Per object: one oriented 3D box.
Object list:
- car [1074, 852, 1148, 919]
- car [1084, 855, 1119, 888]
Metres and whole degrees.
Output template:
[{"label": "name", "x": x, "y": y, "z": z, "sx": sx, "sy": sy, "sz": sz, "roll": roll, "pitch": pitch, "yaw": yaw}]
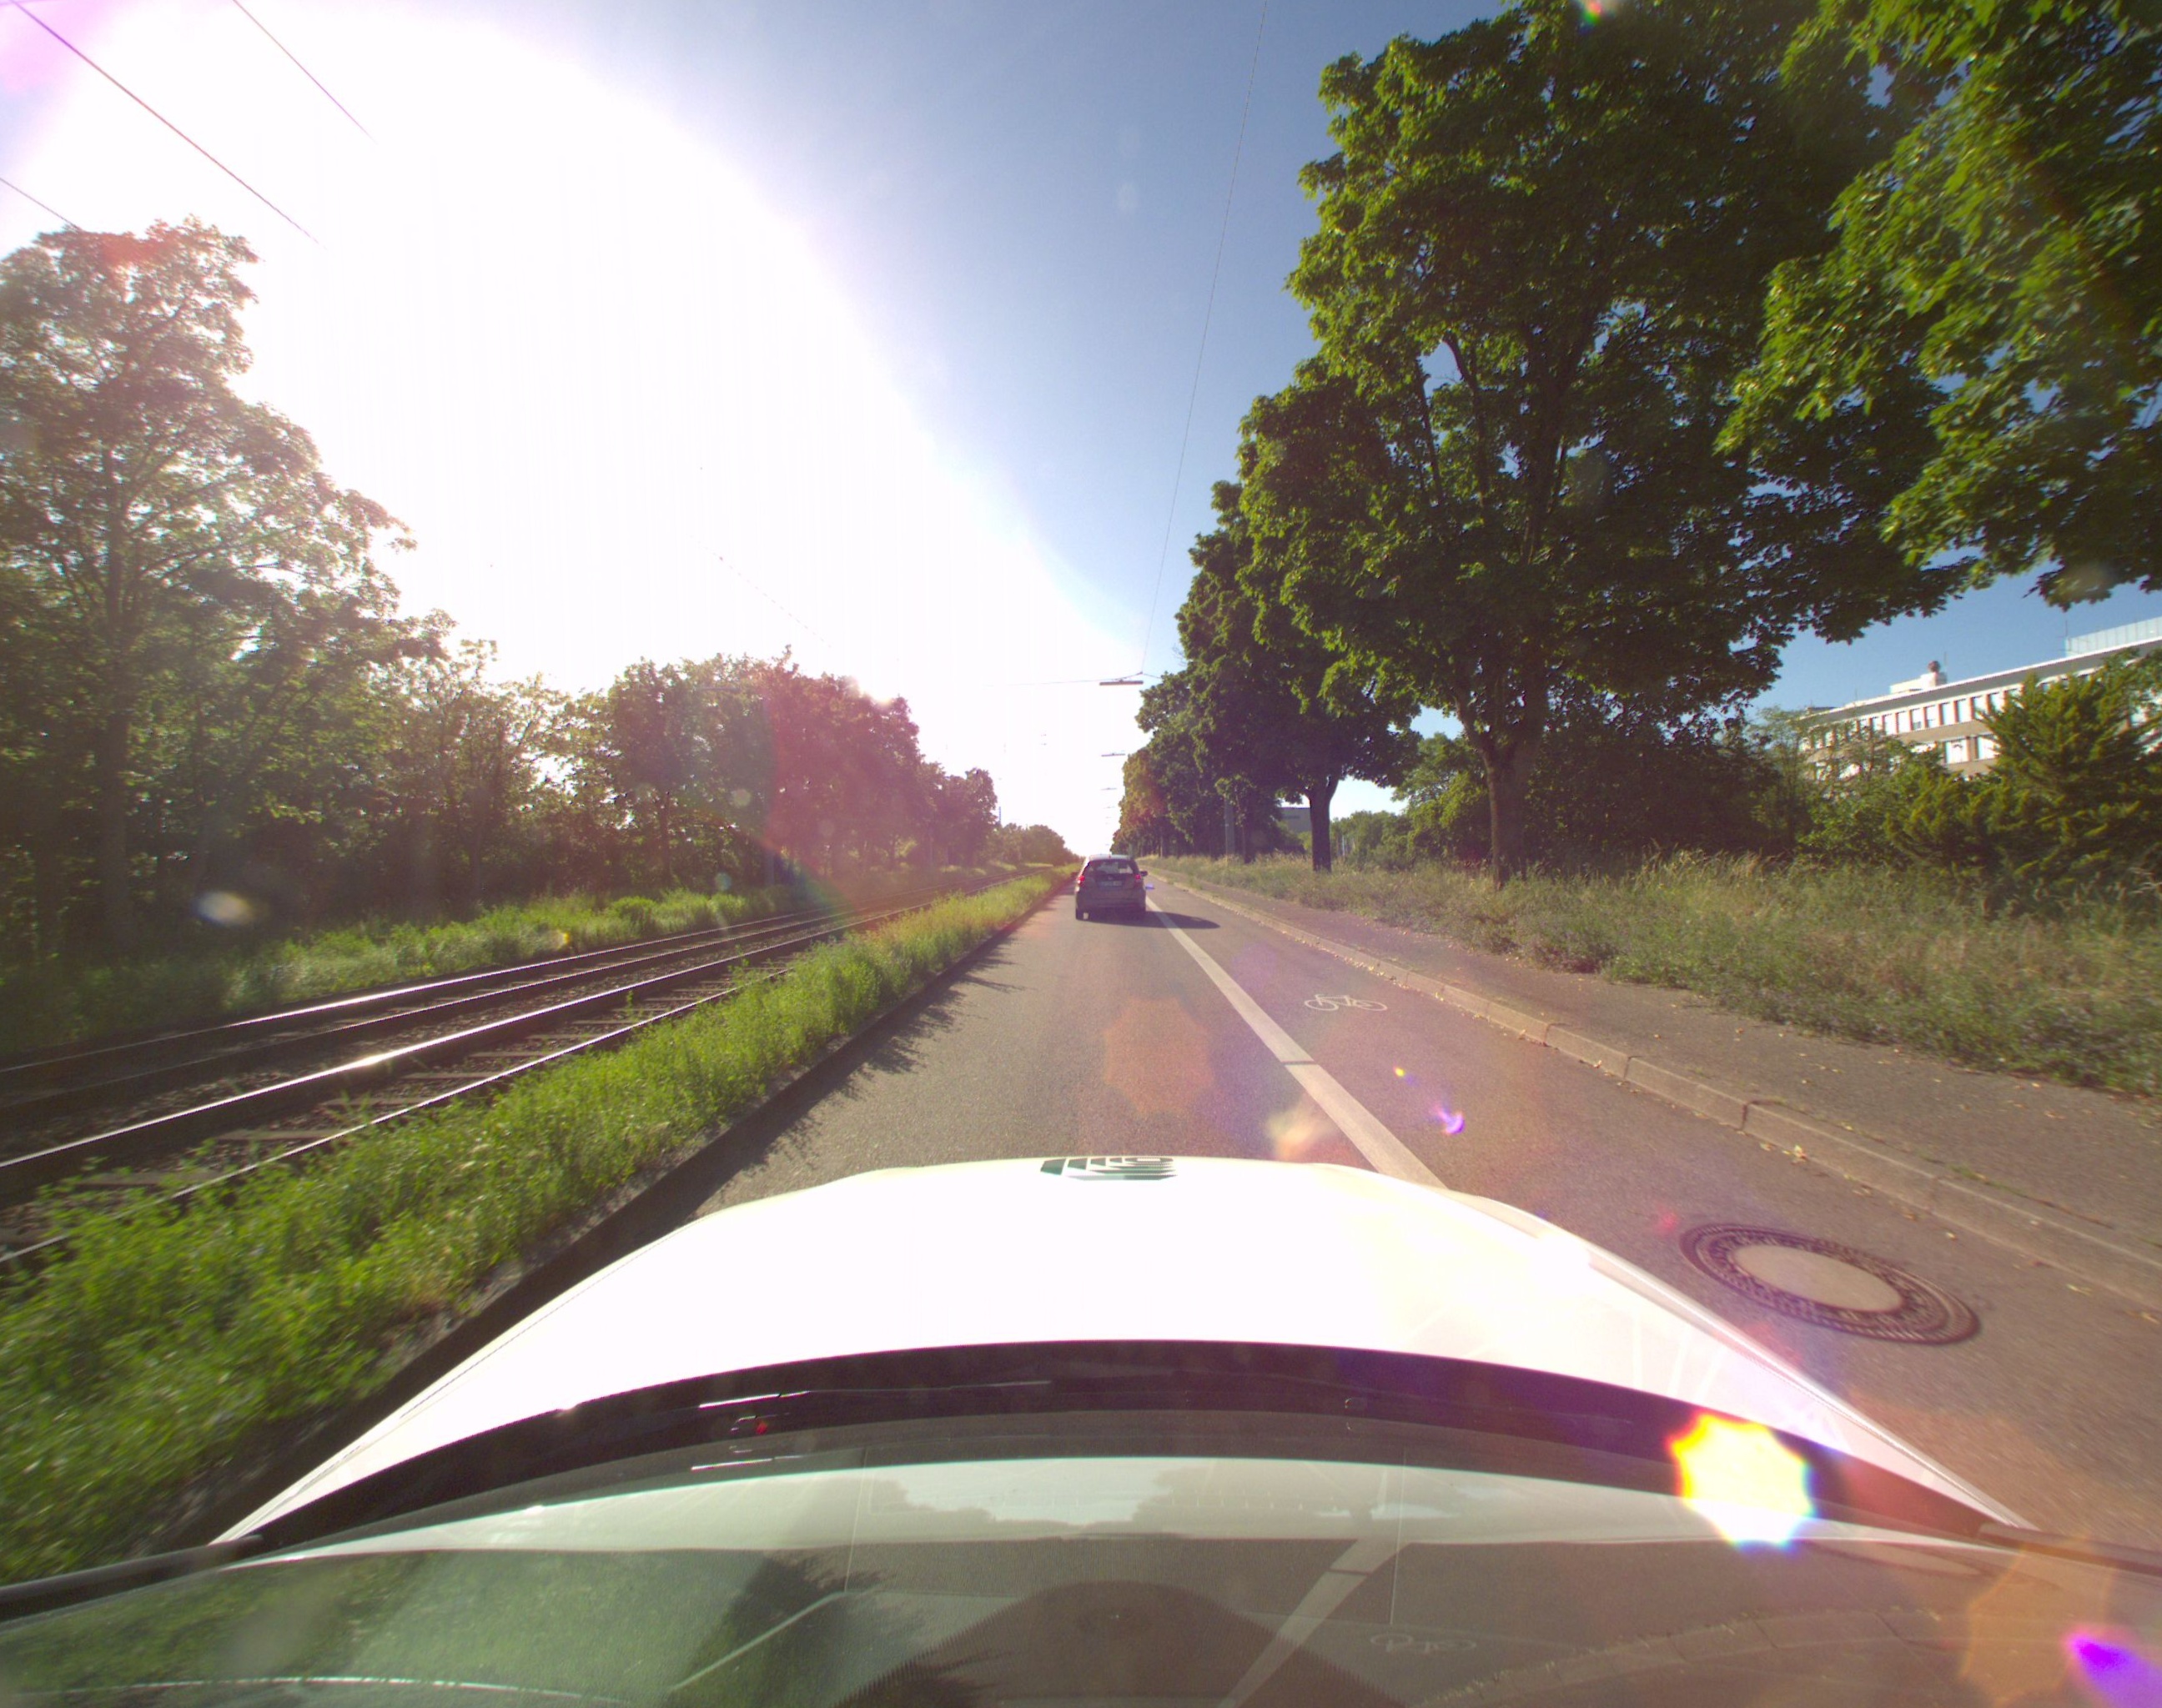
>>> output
[{"label": "car", "x": 0.765, "y": 0.717, "z": 20.384, "sx": 1.663, "sy": 1.507, "sz": 3.813, "roll": 0, "pitch": 0, "yaw": 2}, {"label": "car", "x": 1.026, "y": 0.808, "z": 39.564, "sx": 1.648, "sy": 1.507, "sz": 3.813, "roll": 0, "pitch": 0, "yaw": 2}]
